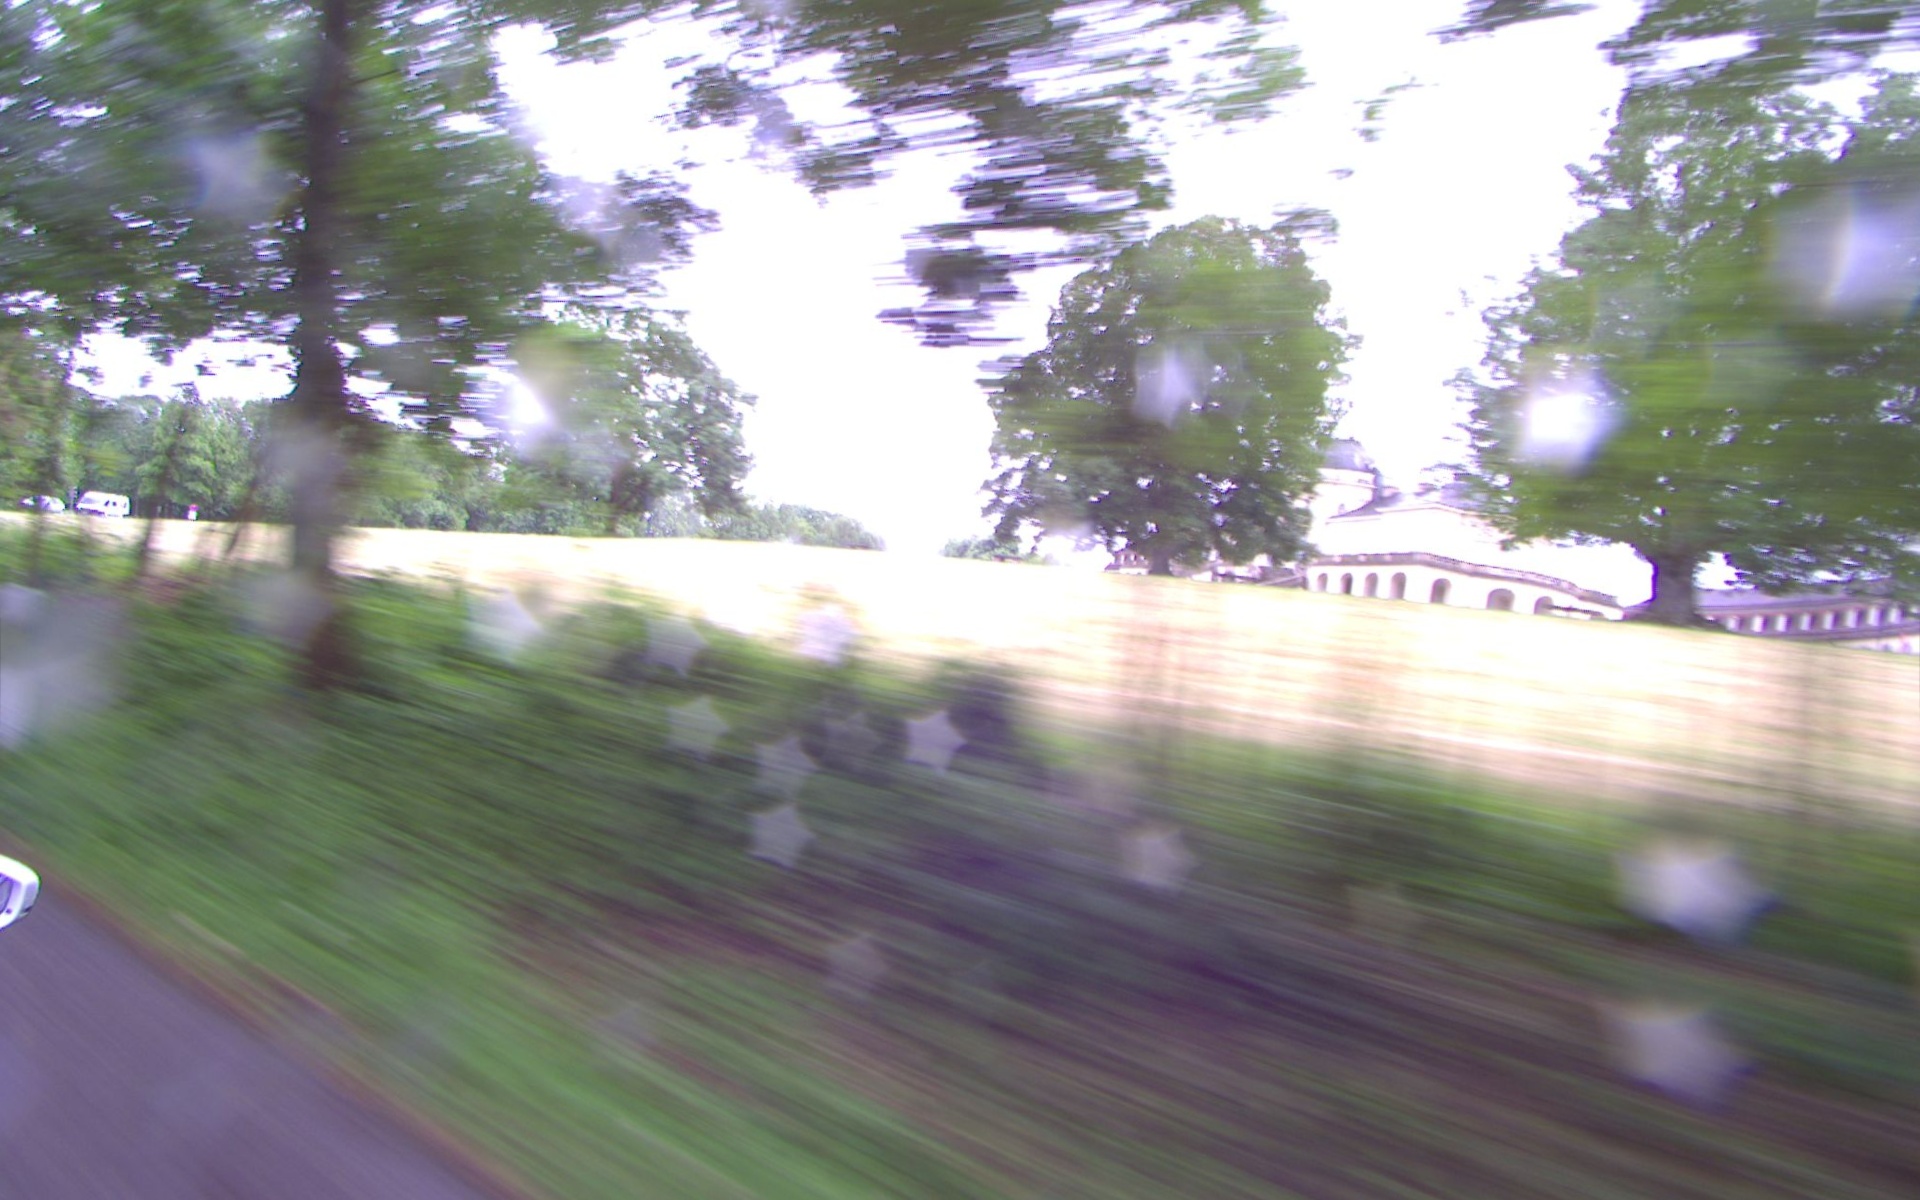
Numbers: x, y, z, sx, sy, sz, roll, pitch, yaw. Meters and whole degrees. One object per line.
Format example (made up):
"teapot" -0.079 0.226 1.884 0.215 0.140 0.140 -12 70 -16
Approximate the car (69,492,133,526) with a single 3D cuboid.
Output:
"car" -82.545 -8.735 96.776 2.244 2.732 6.026 6 1 -16
